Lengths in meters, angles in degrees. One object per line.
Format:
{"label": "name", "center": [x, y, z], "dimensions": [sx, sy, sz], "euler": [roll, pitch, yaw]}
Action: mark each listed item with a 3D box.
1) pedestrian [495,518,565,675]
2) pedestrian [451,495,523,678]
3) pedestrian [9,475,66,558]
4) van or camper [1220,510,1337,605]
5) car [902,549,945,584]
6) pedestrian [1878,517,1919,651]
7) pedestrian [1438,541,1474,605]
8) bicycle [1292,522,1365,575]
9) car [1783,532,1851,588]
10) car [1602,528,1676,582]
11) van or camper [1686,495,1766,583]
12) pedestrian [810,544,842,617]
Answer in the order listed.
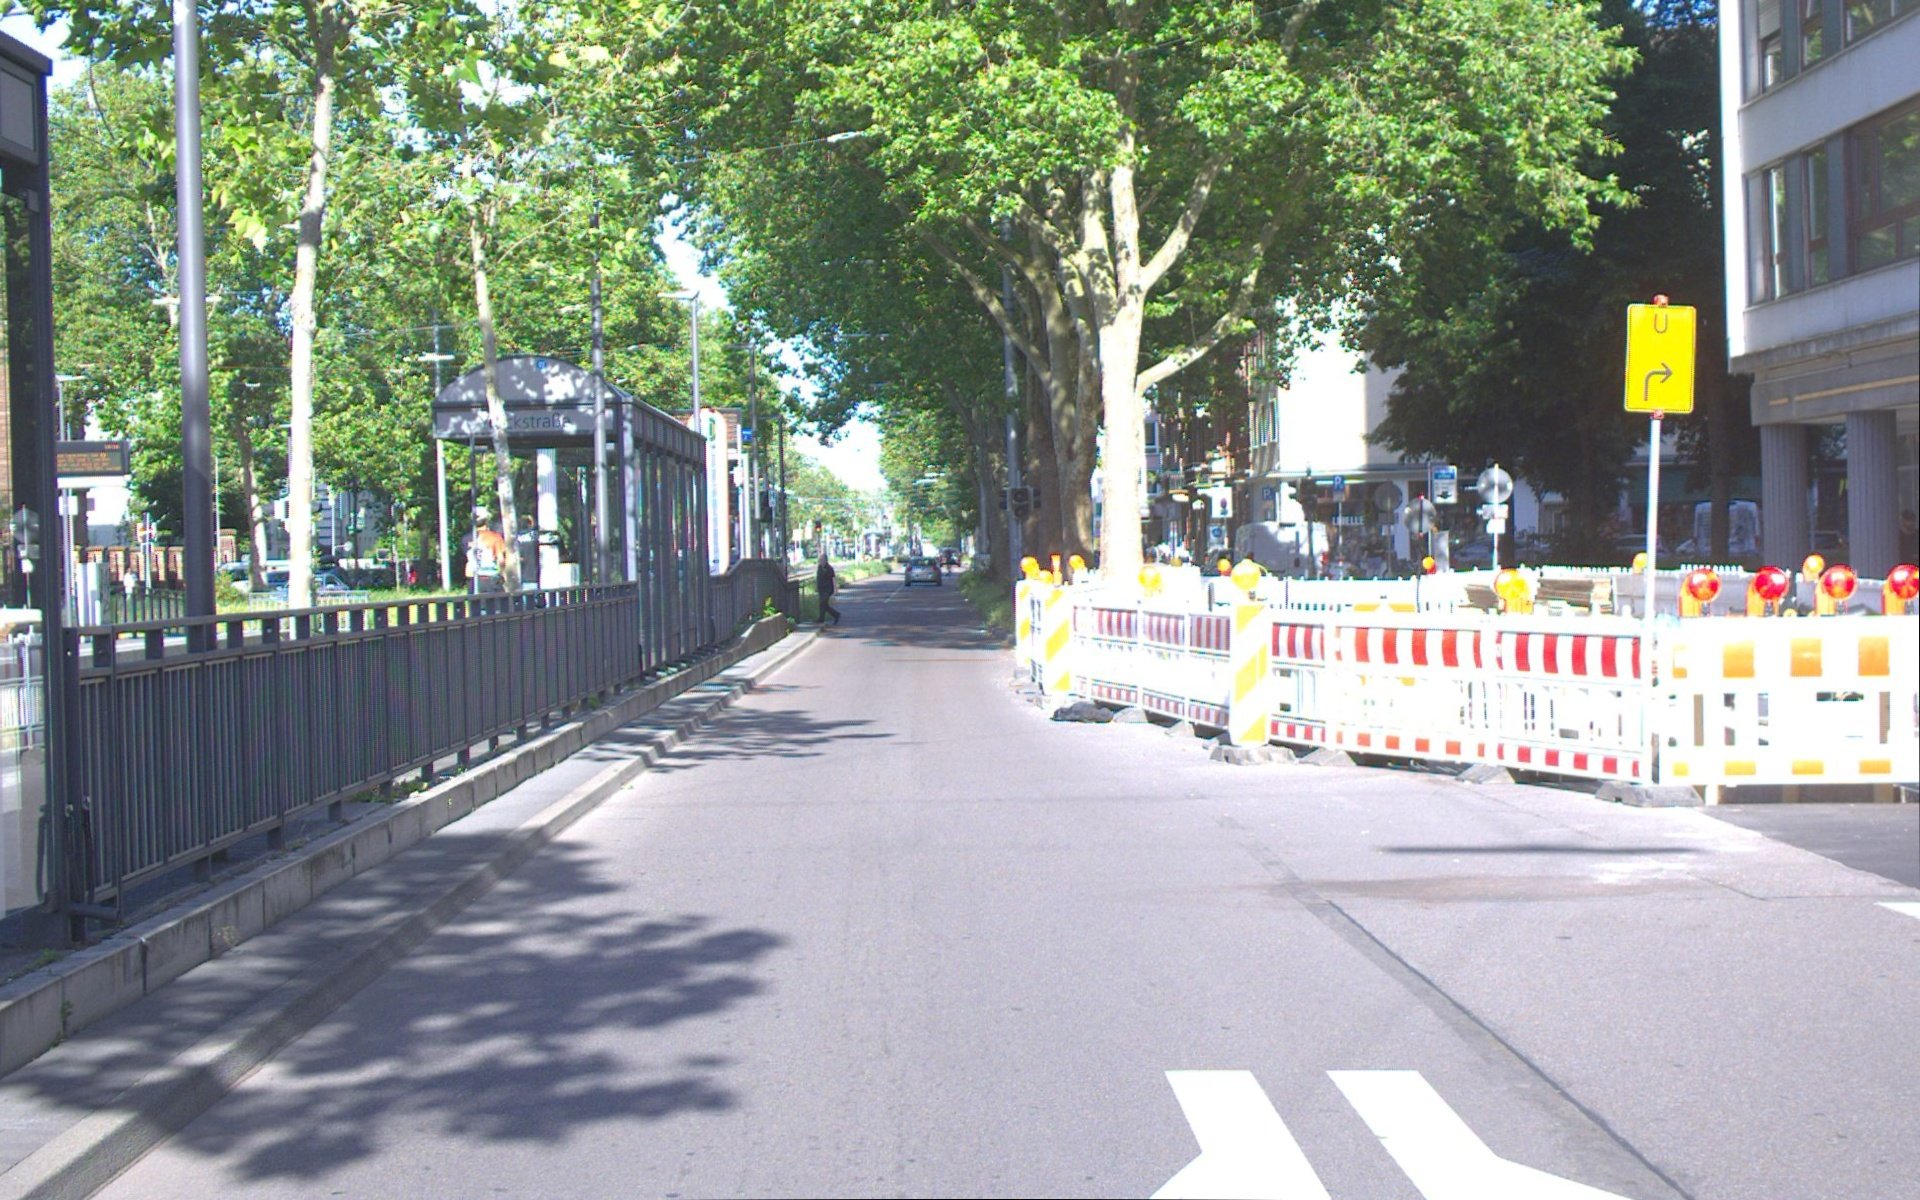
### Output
{"label": "pedestrian", "center": [-4.916, -0.049, 39.368], "dimensions": [0.682, 1.778, 0.754], "euler": [0, 1, 1]}
{"label": "pedestrian", "center": [-5.224, -0.153, 37.993], "dimensions": [0.667, 2.007, 0.716], "euler": [0, 1, 1]}
{"label": "pedestrian", "center": [-19.518, -1.763, 72.761], "dimensions": [0.953, 1.730, 0.730], "euler": [-1, 1, 2]}
{"label": "van or camper", "center": [7.967, -1.062, 86.538], "dimensions": [2.291, 2.279, 5.823], "euler": [-1, 1, -1]}
{"label": "car", "center": [-1.791, -1.622, 167.355], "dimensions": [2.021, 1.656, 4.000], "euler": [-1, 1, -1]}
{"label": "pedestrian", "center": [12.974, -0.229, 46.872], "dimensions": [0.690, 1.809, 0.666], "euler": [-2, 1, -1]}
{"label": "pedestrian", "center": [12.638, -0.701, 87.584], "dimensions": [0.732, 1.611, 1.035], "euler": [-1, 1, 0]}
{"label": "bicycle", "center": [8.948, -1.251, 83.447], "dimensions": [1.603, 1.259, 0.963], "euler": [-1, 1, -5]}
{"label": "car", "center": [26.552, -1.261, 106.460], "dimensions": [1.995, 1.663, 4.742], "euler": [-1, 1, 14]}
{"label": "car", "center": [21.270, -1.423, 107.591], "dimensions": [1.995, 1.622, 4.387], "euler": [-1, 1, 14]}
{"label": "van or camper", "center": [23.916, -1.911, 107.244], "dimensions": [2.148, 2.627, 5.584], "euler": [-1, 1, 15]}
{"label": "pedestrian", "center": [-3.090, -0.448, 79.267], "dimensions": [0.712, 1.674, 0.772], "euler": [-1, 1, -2]}
